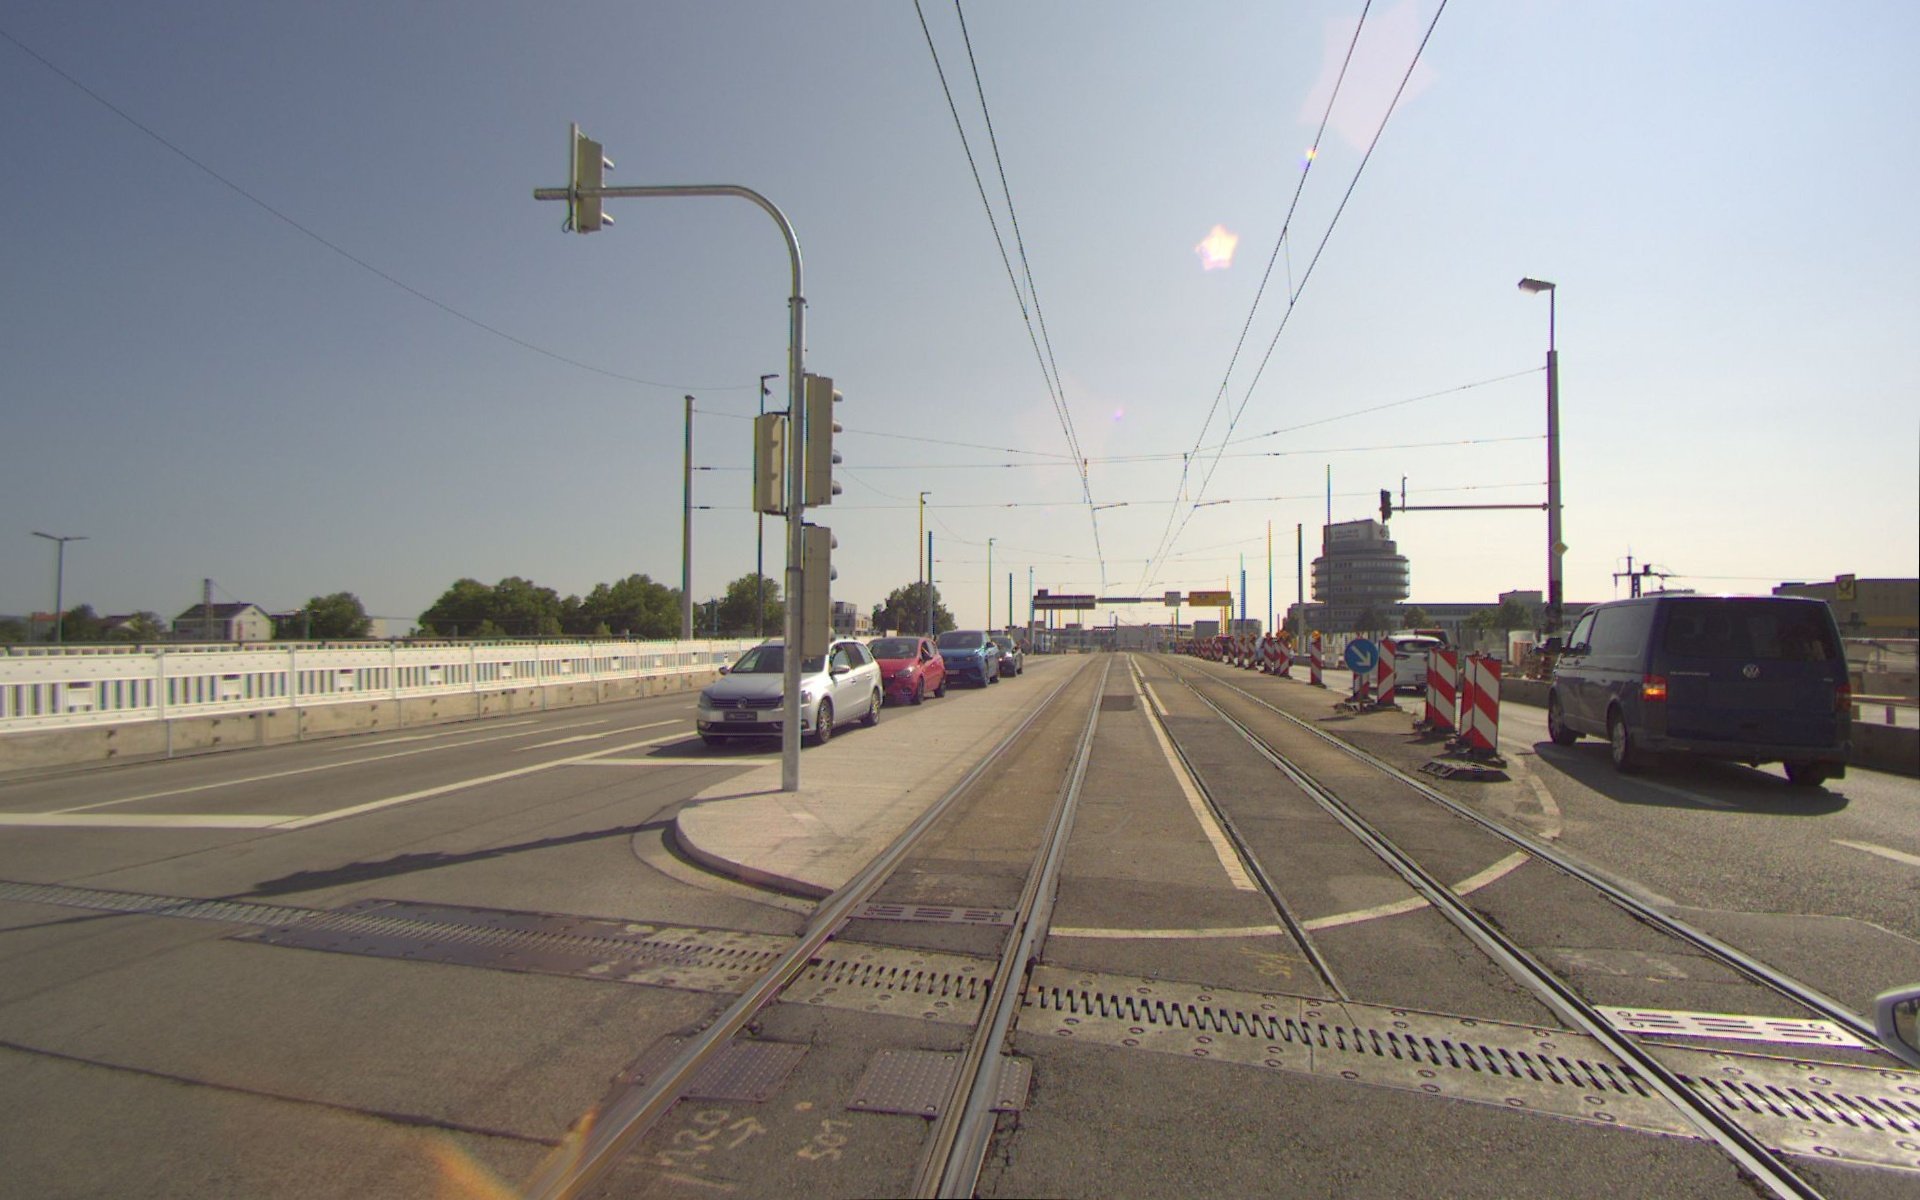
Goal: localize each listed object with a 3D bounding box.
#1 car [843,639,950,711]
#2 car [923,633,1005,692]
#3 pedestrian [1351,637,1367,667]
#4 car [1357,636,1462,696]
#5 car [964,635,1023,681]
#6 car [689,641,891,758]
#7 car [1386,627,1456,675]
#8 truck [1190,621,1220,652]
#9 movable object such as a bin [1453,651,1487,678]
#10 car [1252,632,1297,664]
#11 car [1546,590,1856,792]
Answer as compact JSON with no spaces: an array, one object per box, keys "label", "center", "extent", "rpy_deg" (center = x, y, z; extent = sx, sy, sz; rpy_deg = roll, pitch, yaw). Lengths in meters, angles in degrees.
[{"label":"car","center":[-1.342,1.637,22.825],"extent":[1.507,1.456,3.983],"rpy_deg":[-2,-2,10]},{"label":"car","center":[0.196,1.782,29.619],"extent":[1.641,1.570,4.559],"rpy_deg":[-2,-2,10]},{"label":"pedestrian","center":[25.968,3.385,65.360],"extent":[0.768,1.960,0.800],"rpy_deg":[-2,-3,10]},{"label":"car","center":[11.509,1.639,25.933],"extent":[1.688,1.423,3.415],"rpy_deg":[0,-2,10]},{"label":"car","center":[1.275,2.051,36.329],"extent":[1.480,1.520,4.181],"rpy_deg":[-2,-2,10]},{"label":"car","center":[-2.377,1.392,15.296],"extent":[1.610,1.456,4.647],"rpy_deg":[-2,-2,9]},{"label":"car","center":[20.985,2.318,45.947],"extent":[1.846,2.060,4.895],"rpy_deg":[0,-3,11]},{"label":"truck","center":[26.098,3.867,107.398],"extent":[2.418,3.176,11.224],"rpy_deg":[-1,-2,10]},{"label":"movable object such as a bin","center":[21.143,2.658,41.639],"extent":[0.882,1.088,0.934],"rpy_deg":[2,-2,-33]},{"label":"car","center":[15.738,2.373,50.380],"extent":[1.688,1.552,3.700],"rpy_deg":[0,-2,10]},{"label":"car","center":[8.376,0.954,11.827],"extent":[1.786,1.930,4.054],"rpy_deg":[-2,-2,20]}]
